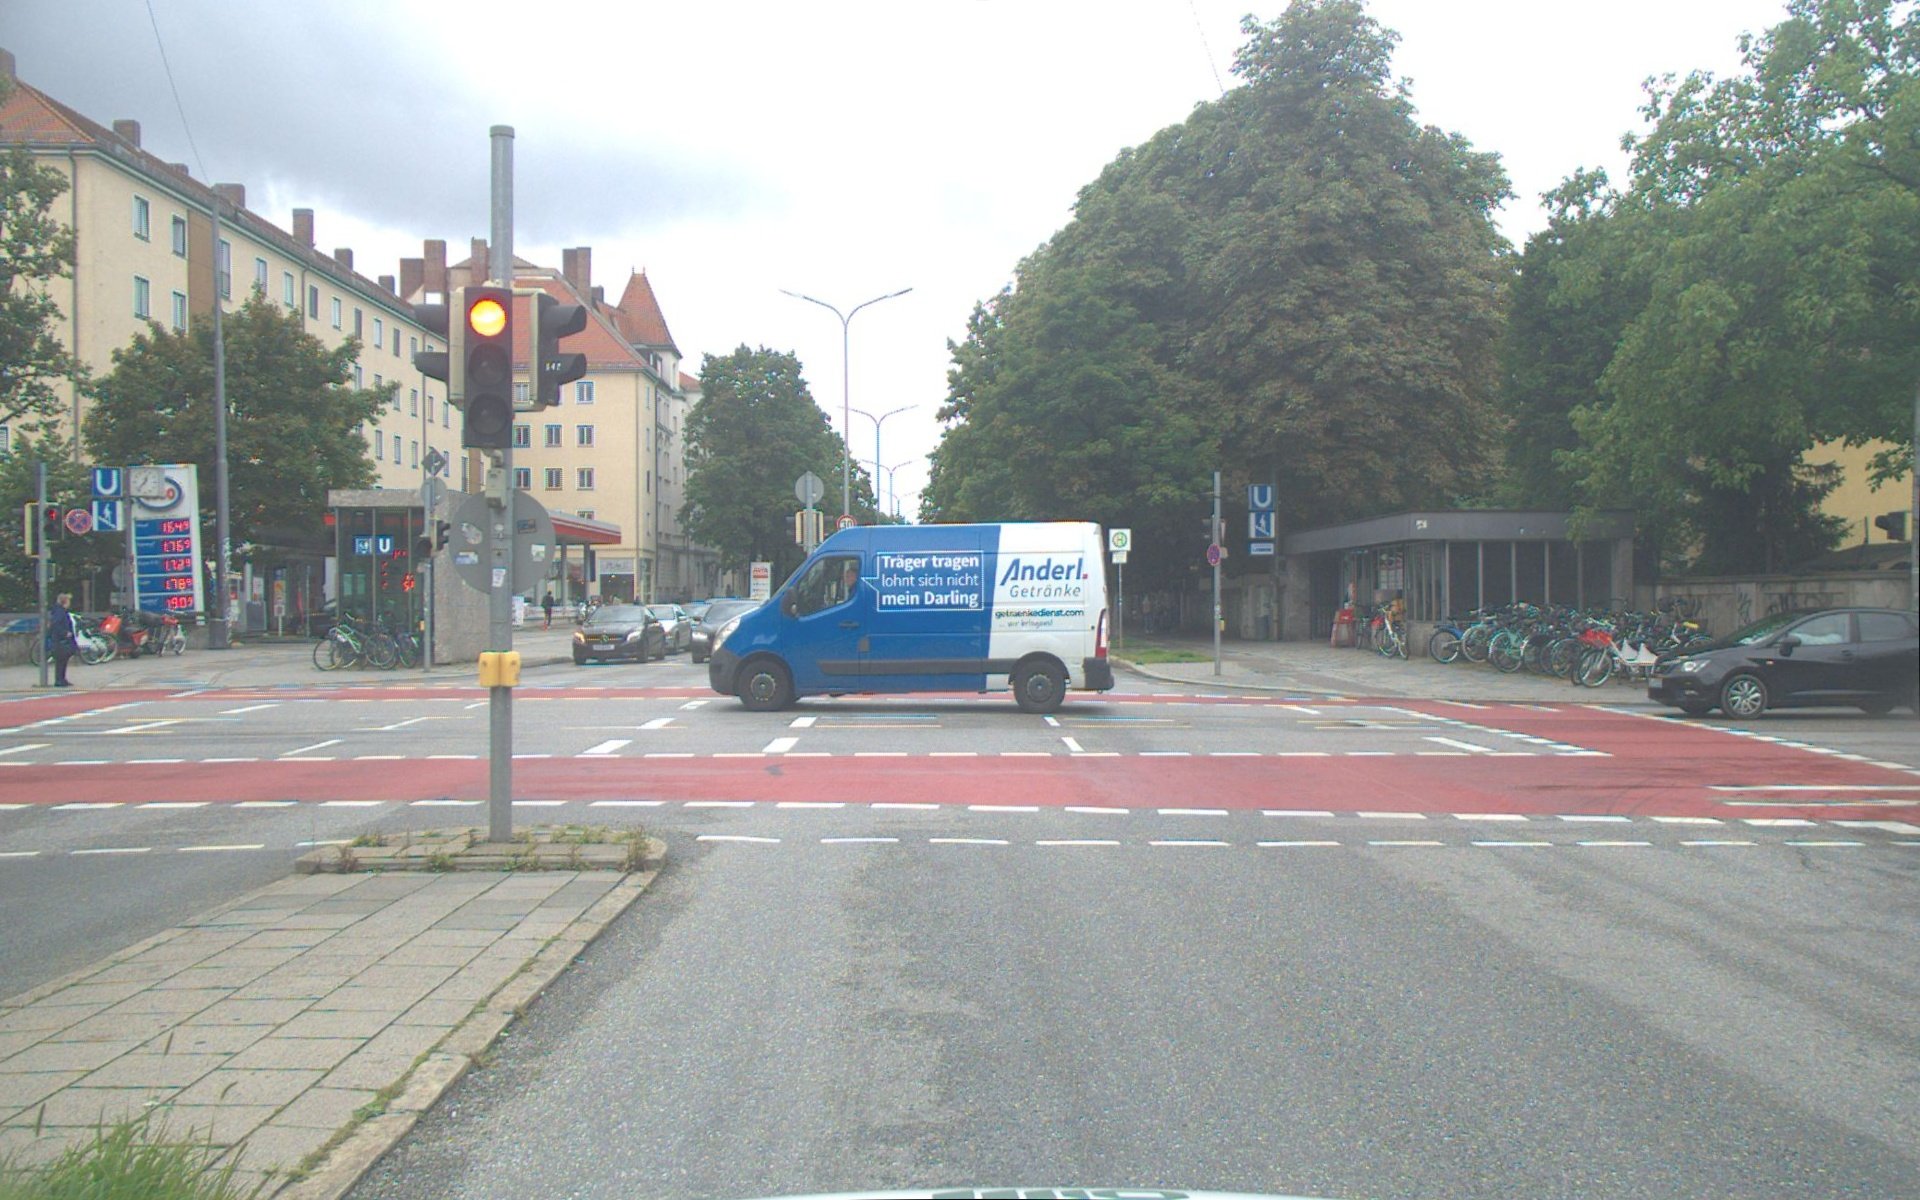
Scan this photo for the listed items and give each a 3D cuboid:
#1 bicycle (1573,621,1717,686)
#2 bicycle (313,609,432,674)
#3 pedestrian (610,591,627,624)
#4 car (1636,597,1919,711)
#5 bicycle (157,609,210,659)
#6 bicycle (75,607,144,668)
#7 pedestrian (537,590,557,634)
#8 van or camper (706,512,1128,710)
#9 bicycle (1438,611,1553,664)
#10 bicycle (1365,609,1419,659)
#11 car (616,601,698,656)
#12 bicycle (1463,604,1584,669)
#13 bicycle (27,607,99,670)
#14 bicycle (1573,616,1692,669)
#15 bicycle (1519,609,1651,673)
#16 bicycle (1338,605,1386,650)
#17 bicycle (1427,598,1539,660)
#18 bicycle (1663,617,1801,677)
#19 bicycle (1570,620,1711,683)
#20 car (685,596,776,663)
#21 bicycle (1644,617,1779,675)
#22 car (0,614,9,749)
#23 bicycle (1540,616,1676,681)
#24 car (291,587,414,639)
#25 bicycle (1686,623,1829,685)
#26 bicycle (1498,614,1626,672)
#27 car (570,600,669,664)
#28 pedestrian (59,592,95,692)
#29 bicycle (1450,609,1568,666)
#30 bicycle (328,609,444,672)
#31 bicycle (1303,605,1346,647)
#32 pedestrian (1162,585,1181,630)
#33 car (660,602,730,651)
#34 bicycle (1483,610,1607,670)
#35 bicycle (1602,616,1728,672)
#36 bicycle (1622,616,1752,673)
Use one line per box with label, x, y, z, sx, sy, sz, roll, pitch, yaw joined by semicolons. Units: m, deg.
bicycle;11.227;0.877;27.163;2.097;1.032;0.603;0;0;7
bicycle;-12.295;0.859;34.656;2.225;1.327;0.704;0;0;0
pedestrian;-17.023;0.378;82.455;0.682;1.666;0.738;0;0;-1
car;11.124;0.683;21.796;3.757;1.422;1.696;0;0;4
bicycle;-18.835;0.817;40.158;0.596;1.165;1.962;0;0;-7
bicycle;-18.494;0.793;36.009;0.596;1.257;2.183;0;0;-7
pedestrian;-19.792;0.573;79.272;0.715;2.049;0.834;1;-1;-1
van or camper;-0.517;0.142;22.329;5.436;2.512;2.068;0;0;3
bicycle;10.664;0.737;33.002;2.097;1.032;0.603;0;0;7
bicycle;9.446;0.733;36.212;0.545;1.032;2.014;0;0;-3
car;-8.774;0.797;48.199;1.724;1.486;3.999;0;0;-1
bicycle;10.695;0.689;31.419;2.097;1.199;0.603;0;0;7
bicycle;-19.051;0.796;35.179;0.596;1.257;2.183;0;0;-7
bicycle;13.344;0.835;32.857;2.097;1.032;0.634;0;0;7
bicycle;11.030;0.723;29.244;2.097;1.120;0.603;0;0;7
bicycle;9.447;0.634;38.945;0.545;1.032;2.014;0;0;-3
bicycle;10.650;0.580;33.721;2.097;1.240;0.603;0;0;7
bicycle;13.487;0.817;28.932;2.097;1.032;0.634;0;0;7
bicycle;11.411;0.864;27.791;2.097;1.032;0.634;0;0;7
car;-5.525;0.683;40.255;1.724;1.519;3.999;0;0;-1
bicycle;13.478;0.822;29.700;2.097;1.032;0.634;0;0;7
car;-12.381;0.886;16.990;4.227;1.436;1.664;0;0;-1
bicycle;11.178;0.839;28.592;2.097;1.089;0.603;0;0;7
car;-22.544;0.480;61.501;3.908;1.870;1.879;0;0;-4
bicycle;13.553;0.917;28.136;2.097;1.032;0.634;0;0;7
bicycle;10.890;0.774;29.956;2.097;1.032;0.603;0;0;7
car;-8.466;0.766;41.411;1.724;1.486;3.999;0;0;-1
pedestrian;-15.508;0.730;29.050;0.527;1.725;0.572;0;0;-27
bicycle;10.652;0.727;32.120;2.097;1.080;0.603;0;0;7
bicycle;-12.285;0.858;35.436;2.238;1.327;0.694;0;0;0
bicycle;9.248;0.651;42.054;0.545;1.032;2.014;0;0;-3
pedestrian;8.131;0.271;63.589;0.663;1.712;0.683;0;0;5
car;-8.674;0.840;54.334;1.724;1.486;3.999;0;0;-1
bicycle;10.837;0.738;30.684;2.097;1.105;0.603;0;0;7
bicycle;13.316;0.824;31.276;2.097;1.032;0.634;0;0;7
bicycle;13.384;0.822;30.492;2.097;1.032;0.634;0;0;7
